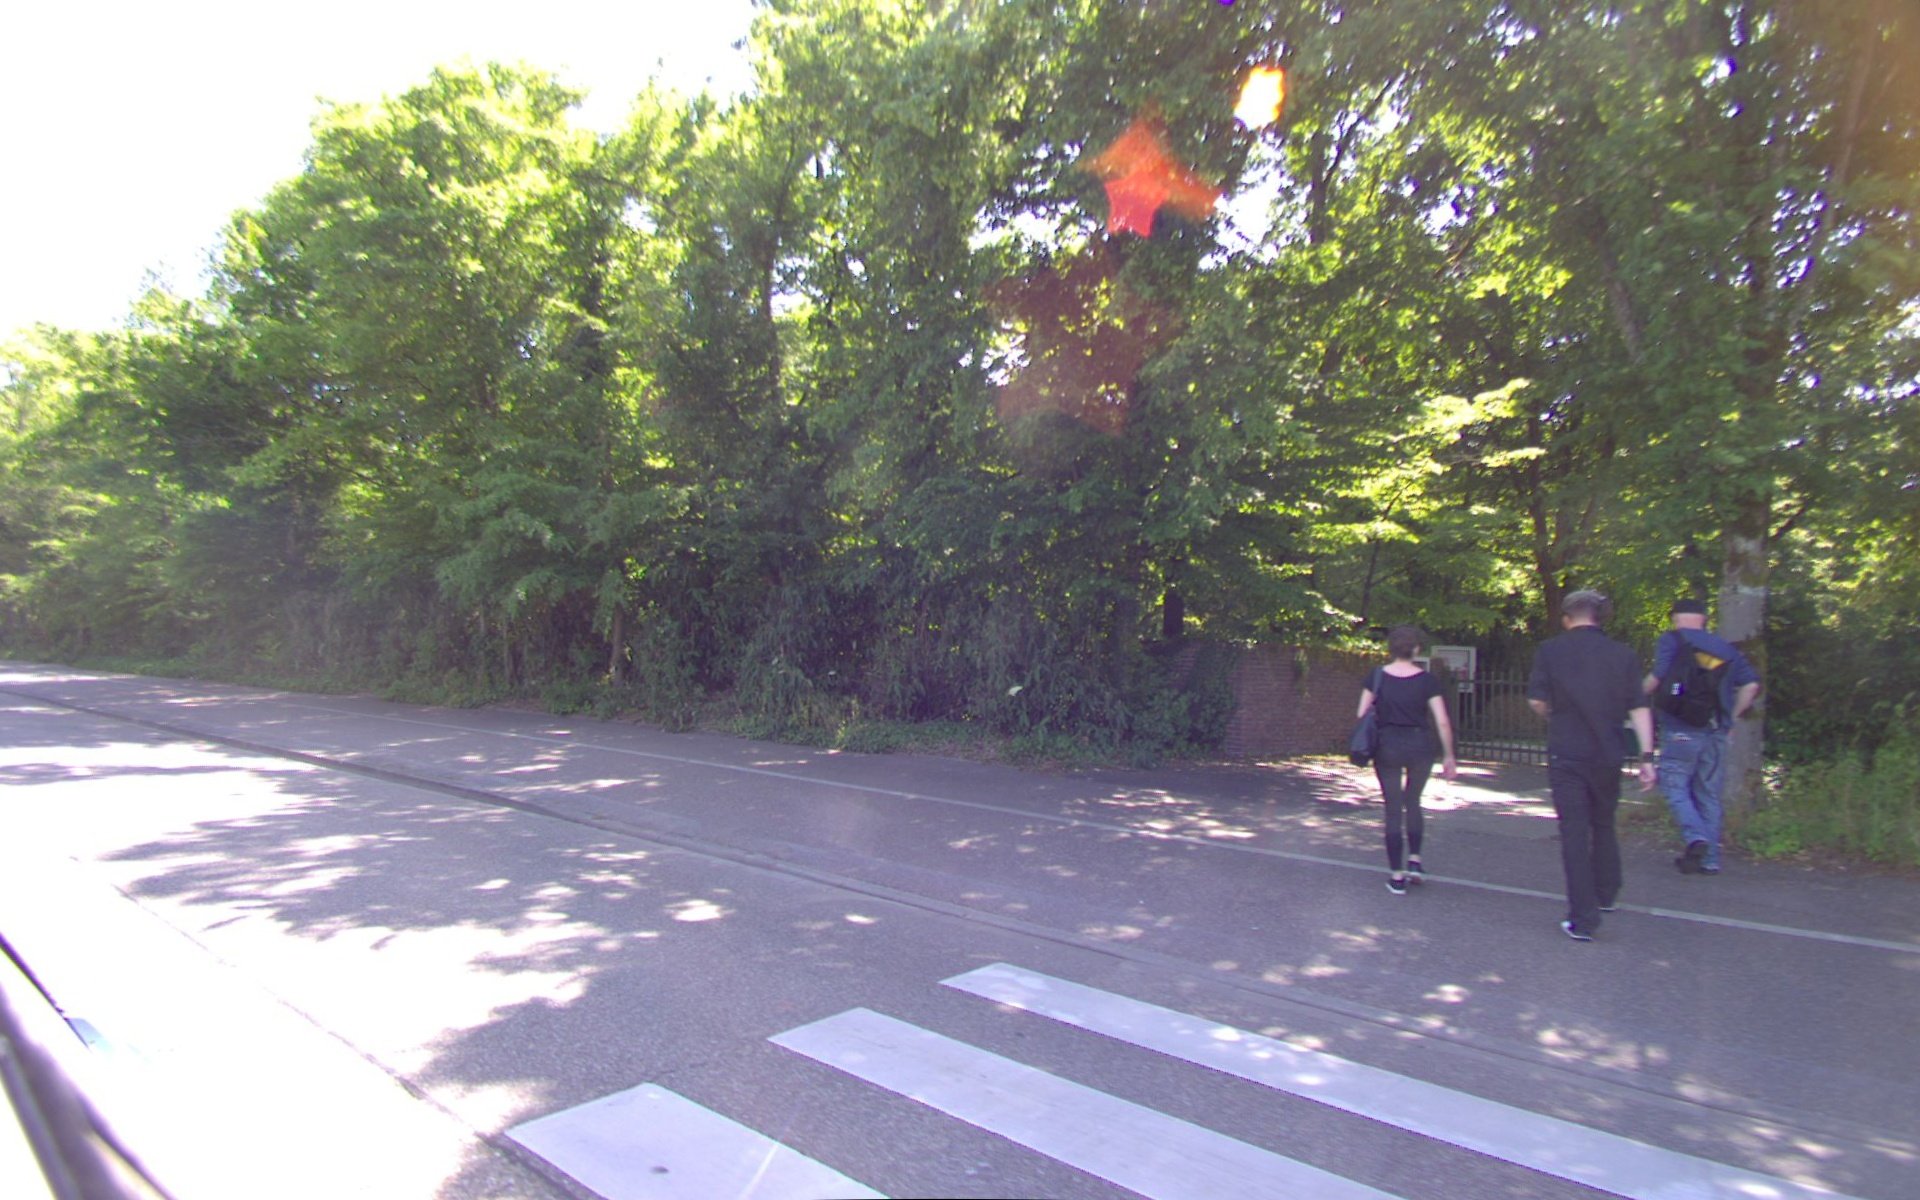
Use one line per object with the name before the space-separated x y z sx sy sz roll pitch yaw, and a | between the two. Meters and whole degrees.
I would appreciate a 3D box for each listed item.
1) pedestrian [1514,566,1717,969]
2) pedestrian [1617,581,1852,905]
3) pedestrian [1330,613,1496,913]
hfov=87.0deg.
pedestrian | 3.449 0.785 5.387 0.781 1.878 1.075 -2 -1 32
pedestrian | 4.770 0.806 6.312 1.021 1.765 1.144 -2 -2 36
pedestrian | 2.757 0.903 6.127 0.778 1.623 0.887 -2 -1 32
